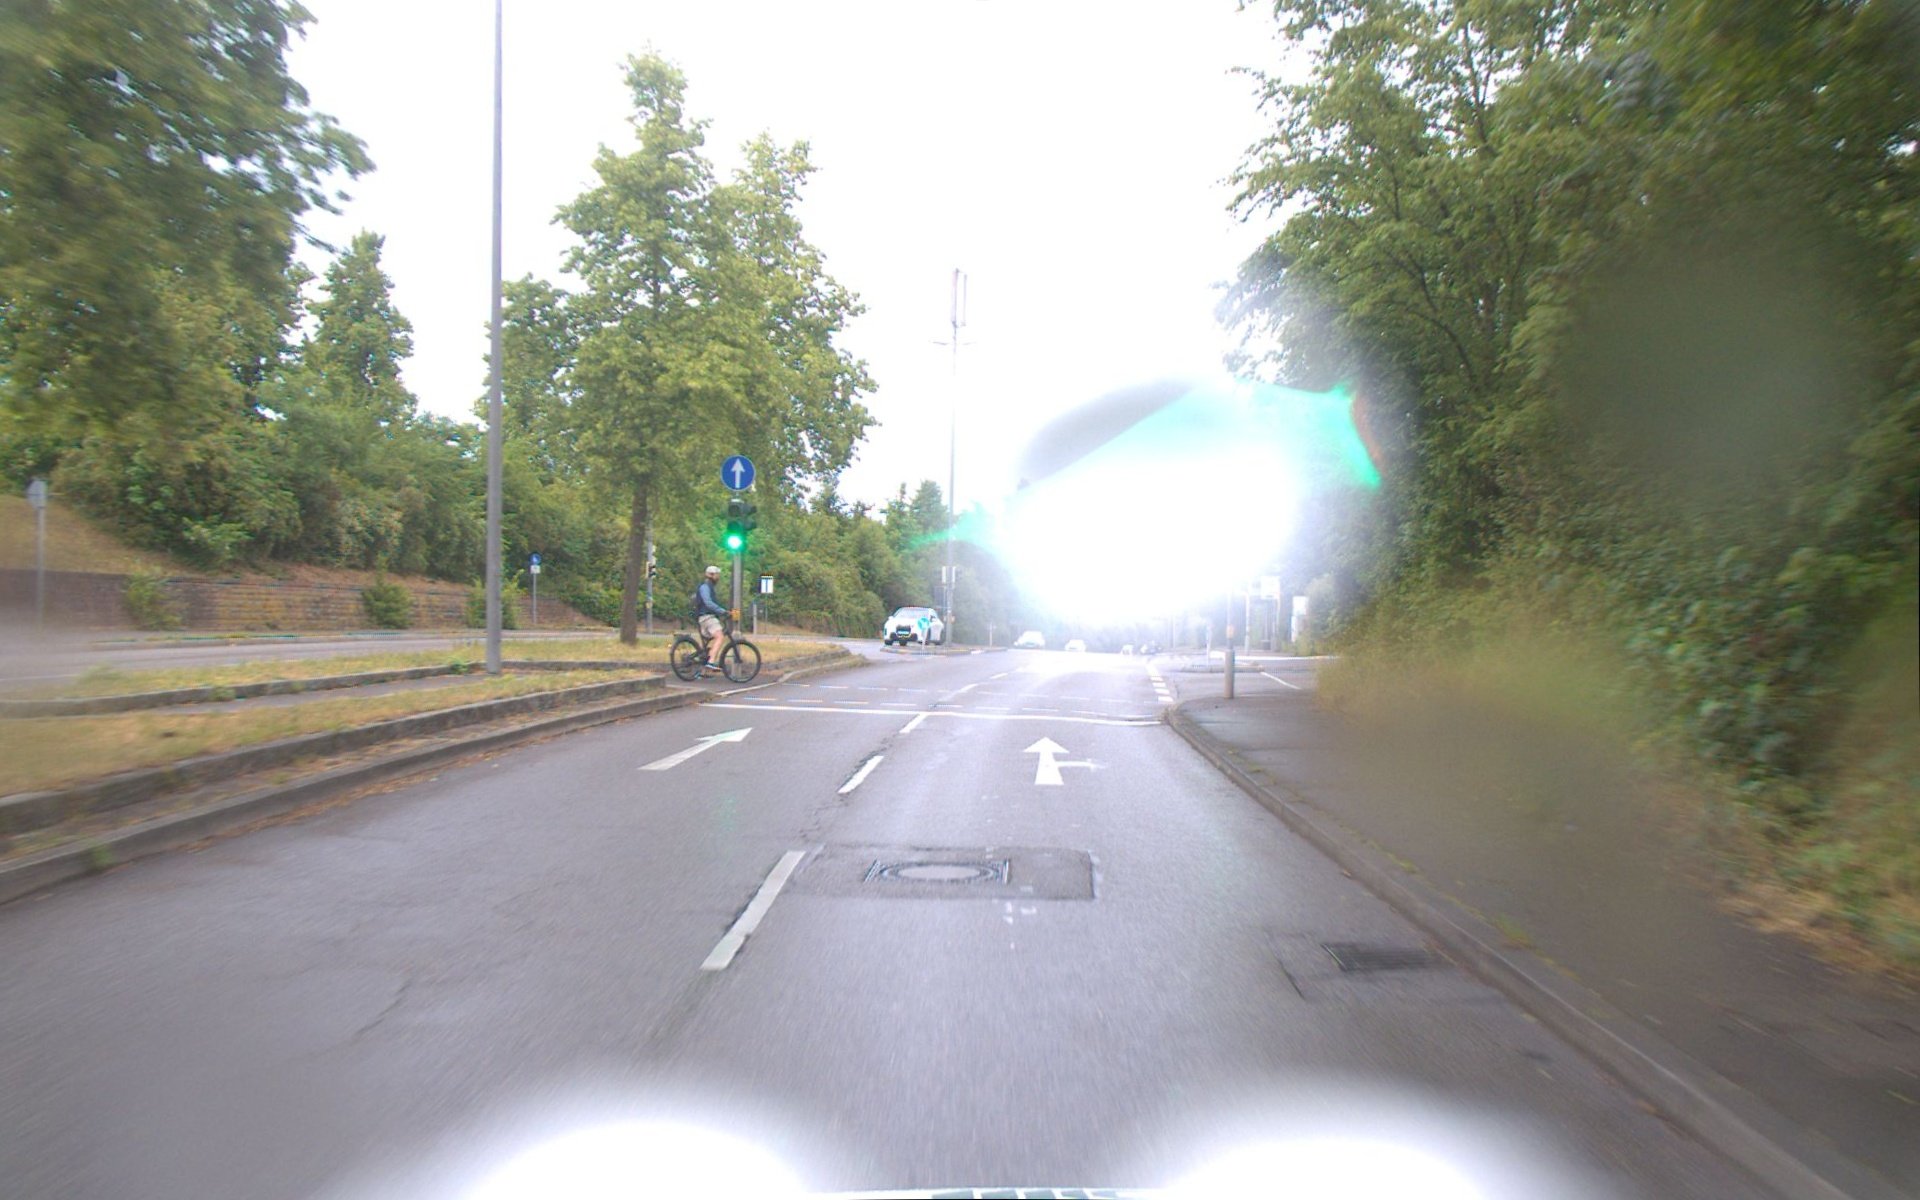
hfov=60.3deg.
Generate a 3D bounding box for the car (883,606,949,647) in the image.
[{"bbox_3d":[-1.896,1.194,73.406,1.903,1.664,5.009,2,-1,10],"label":"car"}]

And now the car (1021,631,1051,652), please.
[{"bbox_3d":[5.702,3.113,123.403,1.740,1.498,4.648,2,-2,8],"label":"car"}]

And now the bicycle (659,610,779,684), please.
[{"bbox_3d":[-3.944,0.780,27.265,0.543,1.163,2.129,1,-1,39],"label":"bicycle"}]

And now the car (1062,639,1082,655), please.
[{"bbox_3d":[12.273,5.152,180.980,1.687,1.619,4.003,2,-1,9],"label":"car"}]

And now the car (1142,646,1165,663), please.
[{"bbox_3d":[20.048,5.641,171.248,1.903,1.619,3.930,1,-1,13],"label":"car"}]

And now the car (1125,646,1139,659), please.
[{"bbox_3d":[23.798,7.299,229.249,1.688,1.593,3.895,4,-1,8],"label":"car"}]

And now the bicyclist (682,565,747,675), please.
[{"bbox_3d":[-4.054,0.342,27.329,0.711,1.783,0.797,-2,-4,39],"label":"bicyclist"}]
